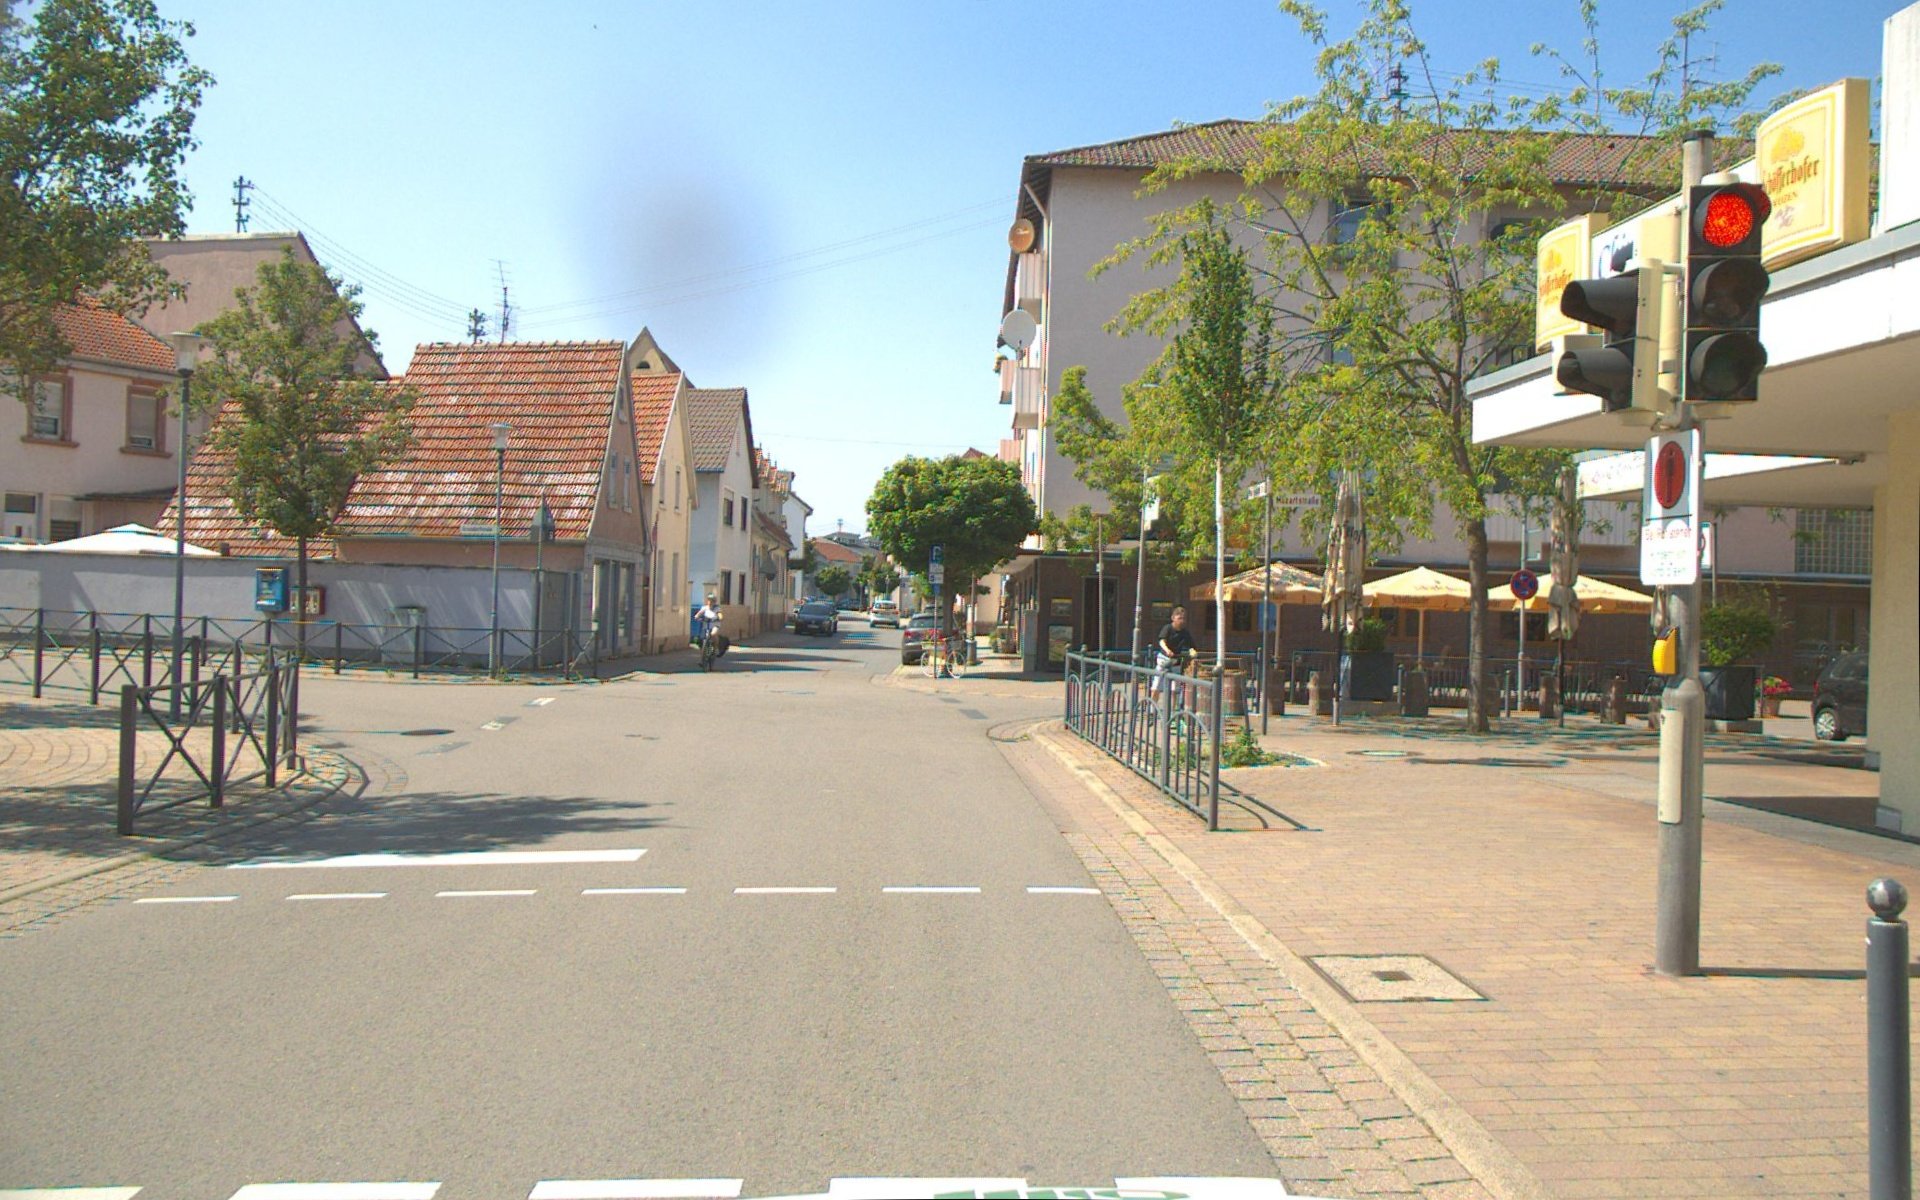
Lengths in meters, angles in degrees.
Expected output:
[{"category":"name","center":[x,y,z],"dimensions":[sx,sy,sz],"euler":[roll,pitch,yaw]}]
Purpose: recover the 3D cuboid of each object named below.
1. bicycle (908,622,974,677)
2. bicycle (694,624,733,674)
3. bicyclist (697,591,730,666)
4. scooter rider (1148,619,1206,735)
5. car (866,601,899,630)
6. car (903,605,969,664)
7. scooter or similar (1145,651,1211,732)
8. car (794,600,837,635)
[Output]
[{"category":"bicycle","center":[-0.453,1.140,38.635],"dimensions":[0.523,1.214,1.648],"euler":[2,-1,-44]},{"category":"bicycle","center":[-5.703,1.117,38.331],"dimensions":[0.660,1.113,1.895],"euler":[0,0,-1]},{"category":"bicyclist","center":[-5.692,0.652,38.234],"dimensions":[0.655,1.720,0.761],"euler":[1,-1,-1]},{"category":"scooter rider","center":[2.510,0.887,19.123],"dimensions":[0.508,1.308,0.415],"euler":[2,-1,-21]},{"category":"car","center":[-4.674,0.909,100.529],"dimensions":[1.796,1.681,3.999],"euler":[2,0,-1]},{"category":"car","center":[-0.658,0.948,47.367],"dimensions":[1.768,1.528,4.000],"euler":[2,0,0]},{"category":"scooter or similar","center":[2.505,1.047,19.090],"dimensions":[0.373,0.889,0.885],"euler":[2,-1,-20]},{"category":"car","center":[-6.792,0.808,78.083],"dimensions":[1.679,1.543,3.786],"euler":[2,0,0]}]
